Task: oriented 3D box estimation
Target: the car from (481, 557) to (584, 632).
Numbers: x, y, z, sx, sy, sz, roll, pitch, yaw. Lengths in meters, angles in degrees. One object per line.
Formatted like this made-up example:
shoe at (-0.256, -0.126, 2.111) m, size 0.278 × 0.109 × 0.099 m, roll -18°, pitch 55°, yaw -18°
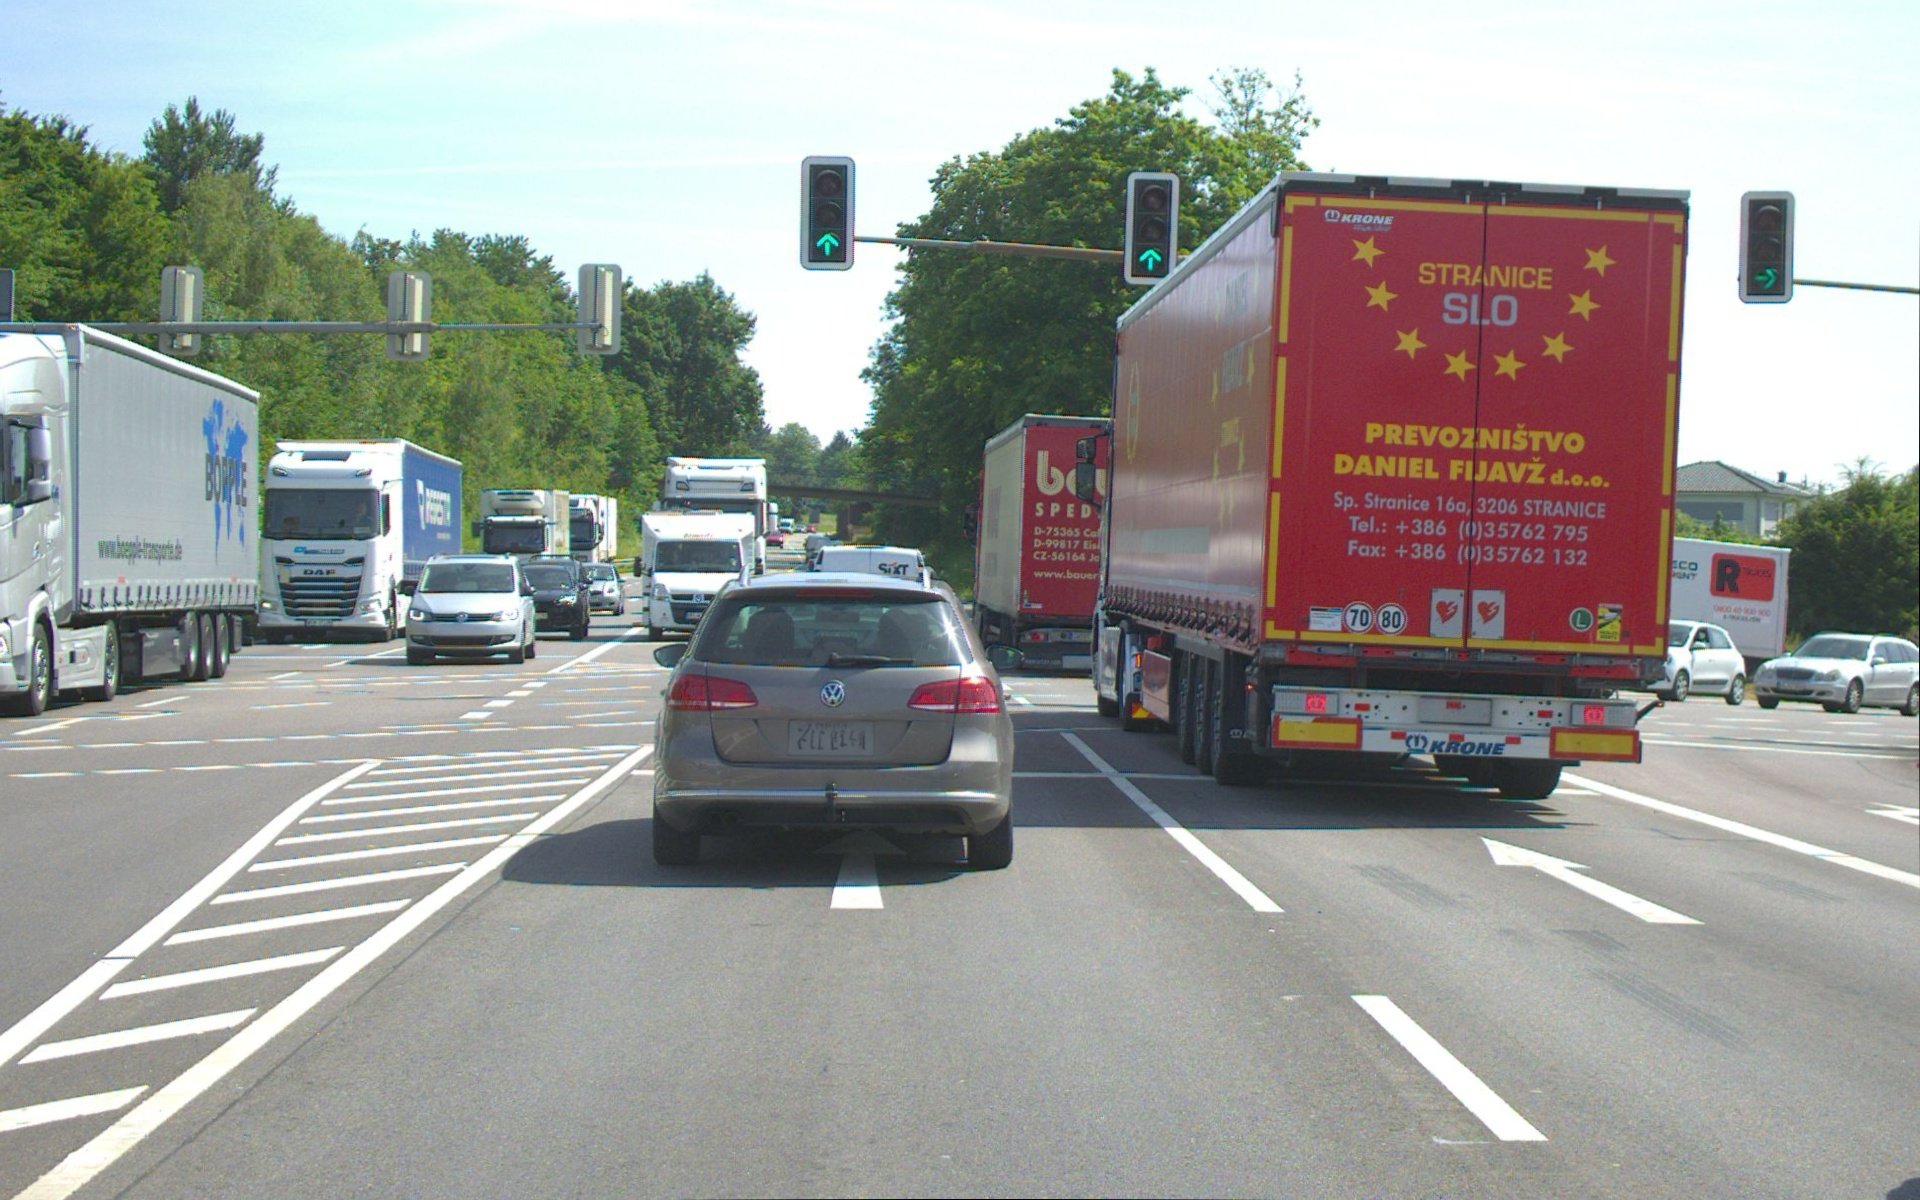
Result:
car at (-8.821, -0.136, 71.151) m, size 1.993 × 1.480 × 4.455 m, roll 0°, pitch 1°, yaw -6°

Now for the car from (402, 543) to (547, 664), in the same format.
car at (-7.625, 0.019, 54.344) m, size 1.843 × 1.726 × 4.589 m, roll 2°, pitch 1°, yaw -3°

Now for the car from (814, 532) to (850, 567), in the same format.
car at (-7.563, -2.949, 202.575) m, size 1.993 × 2.007 × 4.001 m, roll 0°, pitch 1°, yaw -3°

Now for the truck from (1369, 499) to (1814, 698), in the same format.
truck at (14.544, -0.008, 79.072) m, size 9.667 × 3.616 × 2.768 m, roll 6°, pitch -1°, yaw -19°

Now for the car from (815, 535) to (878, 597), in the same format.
car at (-3.813, -1.139, 115.171) m, size 1.993 × 2.007 × 4.001 m, roll 0°, pitch 1°, yaw -3°

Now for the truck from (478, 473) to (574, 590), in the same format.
truck at (-15.455, -2.405, 122.863) m, size 2.728 × 3.985 × 9.621 m, roll 0°, pitch 1°, yaw -3°

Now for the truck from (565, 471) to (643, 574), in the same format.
truck at (-14.811, -3.183, 143.457) m, size 2.829 × 4.102 × 9.684 m, roll 0°, pitch 1°, yaw -4°

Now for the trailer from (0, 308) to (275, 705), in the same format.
trailer at (-10.908, -1.058, 42.701) m, size 2.691 × 4.133 × 13.881 m, roll 0°, pitch 1°, yaw -3°

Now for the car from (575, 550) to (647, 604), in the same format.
car at (-9.939, -0.659, 98.113) m, size 1.725 × 1.497 × 4.000 m, roll 0°, pitch 1°, yaw -1°

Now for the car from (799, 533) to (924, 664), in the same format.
car at (-1.552, -0.047, 52.940) m, size 1.770 × 1.930 × 3.978 m, roll 0°, pitch 1°, yaw -3°

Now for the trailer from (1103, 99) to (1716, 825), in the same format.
trailer at (3.041, -0.916, 27.761) m, size 2.839 × 4.350 × 13.168 m, roll 2°, pitch 1°, yaw -1°

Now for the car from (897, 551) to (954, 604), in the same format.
car at (-1.364, -0.896, 133.963) m, size 1.993 × 2.007 × 4.001 m, roll 0°, pitch 1°, yaw -3°

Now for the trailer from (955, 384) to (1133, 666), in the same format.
trailer at (1.257, -1.203, 58.488) m, size 2.395 × 4.229 × 13.079 m, roll 0°, pitch 1°, yaw -1°

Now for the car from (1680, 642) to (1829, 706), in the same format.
car at (19.897, 1.861, 85.955) m, size 1.998 × 1.455 × 4.311 m, roll 1°, pitch -1°, yaw 37°

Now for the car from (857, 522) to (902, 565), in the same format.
car at (-3.850, -2.691, 163.923) m, size 1.993 × 2.007 × 4.001 m, roll 0°, pitch 1°, yaw -3°

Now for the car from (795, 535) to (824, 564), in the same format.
car at (-10.642, -3.577, 243.241) m, size 1.993 × 2.007 × 4.001 m, roll 0°, pitch 1°, yaw -3°

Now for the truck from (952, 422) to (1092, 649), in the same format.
truck at (1.116, -1.201, 65.147) m, size 2.406 × 4.113 × 5.521 m, roll 0°, pitch 1°, yaw -1°

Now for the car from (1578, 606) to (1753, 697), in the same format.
car at (13.360, 0.988, 64.980) m, size 1.709 × 1.499 × 3.747 m, roll 3°, pitch -1°, yaw 37°

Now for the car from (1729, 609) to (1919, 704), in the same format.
car at (16.270, 1.070, 63.509) m, size 1.998 × 1.500 × 4.988 m, roll 3°, pitch -1°, yaw 38°

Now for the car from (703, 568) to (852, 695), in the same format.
car at (-2.309, 0.362, 43.257) m, size 1.770 × 1.508 × 4.001 m, roll 0°, pitch 1°, yaw -3°

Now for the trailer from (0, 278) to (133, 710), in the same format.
trailer at (-10.508, -1.048, 35.604) m, size 2.645 × 4.091 × 6.181 m, roll 0°, pitch 1°, yaw -3°

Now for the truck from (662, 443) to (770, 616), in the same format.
truck at (-6.004, -1.704, 84.577) m, size 2.536 × 4.074 × 6.267 m, roll 0°, pitch 1°, yaw -4°

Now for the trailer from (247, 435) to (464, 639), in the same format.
trailer at (-13.152, -1.346, 76.087) m, size 3.093 × 4.066 × 14.129 m, roll 0°, pitch 1°, yaw -3°

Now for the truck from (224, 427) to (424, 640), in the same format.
truck at (-12.734, -1.318, 69.322) m, size 3.187 × 4.066 × 6.347 m, roll 0°, pitch 1°, yaw -3°

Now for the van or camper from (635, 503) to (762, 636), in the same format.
van or camper at (-5.330, -0.637, 70.907) m, size 2.330 × 2.591 × 6.979 m, roll 0°, pitch 1°, yaw -2°

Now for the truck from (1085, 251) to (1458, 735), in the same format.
truck at (2.930, -1.003, 34.118) m, size 2.870 × 4.266 × 5.839 m, roll 2°, pitch 0°, yaw -1°

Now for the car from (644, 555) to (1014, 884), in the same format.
car at (-0.722, 0.533, 17.849) m, size 1.691 × 1.508 × 4.001 m, roll 0°, pitch 1°, yaw -3°
